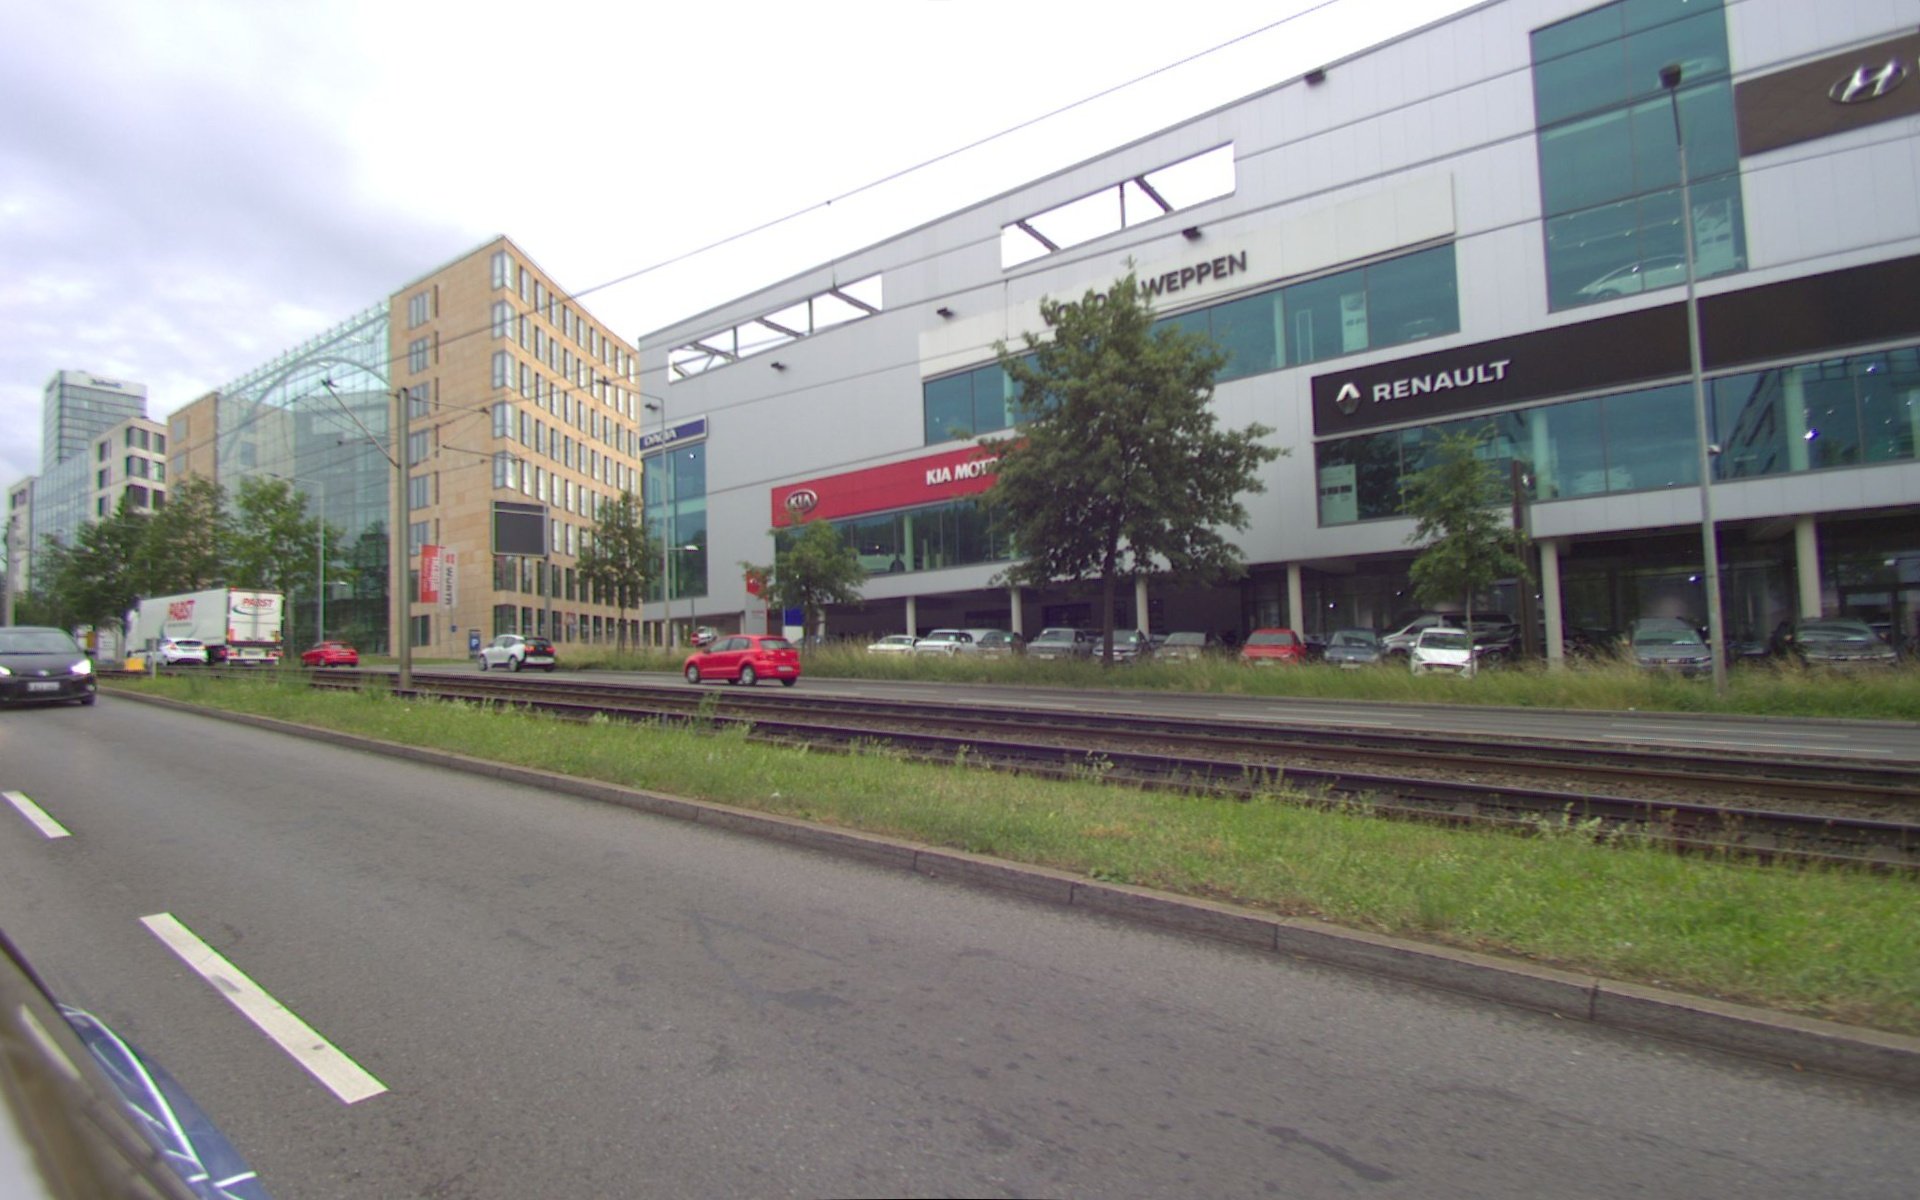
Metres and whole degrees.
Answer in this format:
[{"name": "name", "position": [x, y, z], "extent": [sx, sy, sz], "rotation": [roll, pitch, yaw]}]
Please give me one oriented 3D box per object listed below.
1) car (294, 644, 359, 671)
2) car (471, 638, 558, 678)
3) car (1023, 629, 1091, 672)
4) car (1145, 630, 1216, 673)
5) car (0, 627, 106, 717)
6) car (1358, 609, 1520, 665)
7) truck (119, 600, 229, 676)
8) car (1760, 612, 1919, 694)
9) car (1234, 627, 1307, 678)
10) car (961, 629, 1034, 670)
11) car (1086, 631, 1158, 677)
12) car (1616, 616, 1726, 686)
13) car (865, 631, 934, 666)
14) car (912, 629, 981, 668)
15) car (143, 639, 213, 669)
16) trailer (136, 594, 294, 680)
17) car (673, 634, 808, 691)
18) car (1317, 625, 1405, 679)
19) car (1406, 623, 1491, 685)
[{"name": "car", "position": [-34.285, 3.081, 54.765], "extent": [4.018, 1.380, 1.668], "rotation": [-2, -2, 37]}, {"name": "car", "position": [-18.956, 2.432, 42.990], "extent": [4.094, 1.593, 1.668], "rotation": [-2, -2, 38]}, {"name": "car", "position": [3.672, 1.851, 37.737], "extent": [1.686, 1.362, 3.503], "rotation": [-2, 1, 20]}, {"name": "car", "position": [7.528, 1.722, 34.349], "extent": [1.689, 1.190, 3.498], "rotation": [-2, 1, 24]}, {"name": "car", "position": [-17.755, 1.315, 19.269], "extent": [3.824, 1.544, 1.682], "rotation": [-2, -2, 40]}, {"name": "car", "position": [16.238, 1.266, 34.519], "extent": [4.488, 1.796, 1.997], "rotation": [-1, -2, 5]}, {"name": "truck", "position": [-46.614, 2.297, 59.964], "extent": [7.014, 4.276, 3.107], "rotation": [-2, -5, 36]}, {"name": "car", "position": [20.330, 1.162, 23.603], "extent": [1.992, 1.562, 4.331], "rotation": [-2, 1, 30]}, {"name": "car", "position": [10.022, 1.641, 32.503], "extent": [1.789, 1.362, 3.903], "rotation": [-2, 1, 24]}, {"name": "car", "position": [1.498, 1.881, 39.060], "extent": [1.688, 1.362, 3.499], "rotation": [-2, 1, 23]}, {"name": "car", "position": [5.782, 1.883, 35.810], "extent": [1.689, 1.362, 3.498], "rotation": [-2, 1, 24]}, {"name": "car", "position": [18.133, 1.252, 25.991], "extent": [1.925, 1.470, 3.981], "rotation": [-2, 1, 30]}, {"name": "car", "position": [-2.496, 2.030, 42.670], "extent": [1.685, 1.196, 3.643], "rotation": [-2, 1, 18]}, {"name": "car", "position": [-0.507, 1.949, 40.992], "extent": [1.685, 1.304, 3.643], "rotation": [-2, 1, 18]}, {"name": "car", "position": [-38.935, 2.689, 50.336], "extent": [4.092, 1.447, 1.668], "rotation": [-2, -4, 37]}, {"name": "trailer", "position": [-41.648, 2.127, 56.306], "extent": [13.254, 4.363, 3.105], "rotation": [-2, -5, 36]}, {"name": "car", "position": [-6.331, 1.770, 29.005], "extent": [4.098, 1.524, 1.568], "rotation": [-2, -4, 40]}, {"name": "car", "position": [12.356, 1.553, 31.065], "extent": [1.914, 1.362, 4.005], "rotation": [-2, 1, 30]}, {"name": "car", "position": [14.228, 1.518, 29.367], "extent": [1.914, 1.470, 4.005], "rotation": [-2, 1, 30]}]
